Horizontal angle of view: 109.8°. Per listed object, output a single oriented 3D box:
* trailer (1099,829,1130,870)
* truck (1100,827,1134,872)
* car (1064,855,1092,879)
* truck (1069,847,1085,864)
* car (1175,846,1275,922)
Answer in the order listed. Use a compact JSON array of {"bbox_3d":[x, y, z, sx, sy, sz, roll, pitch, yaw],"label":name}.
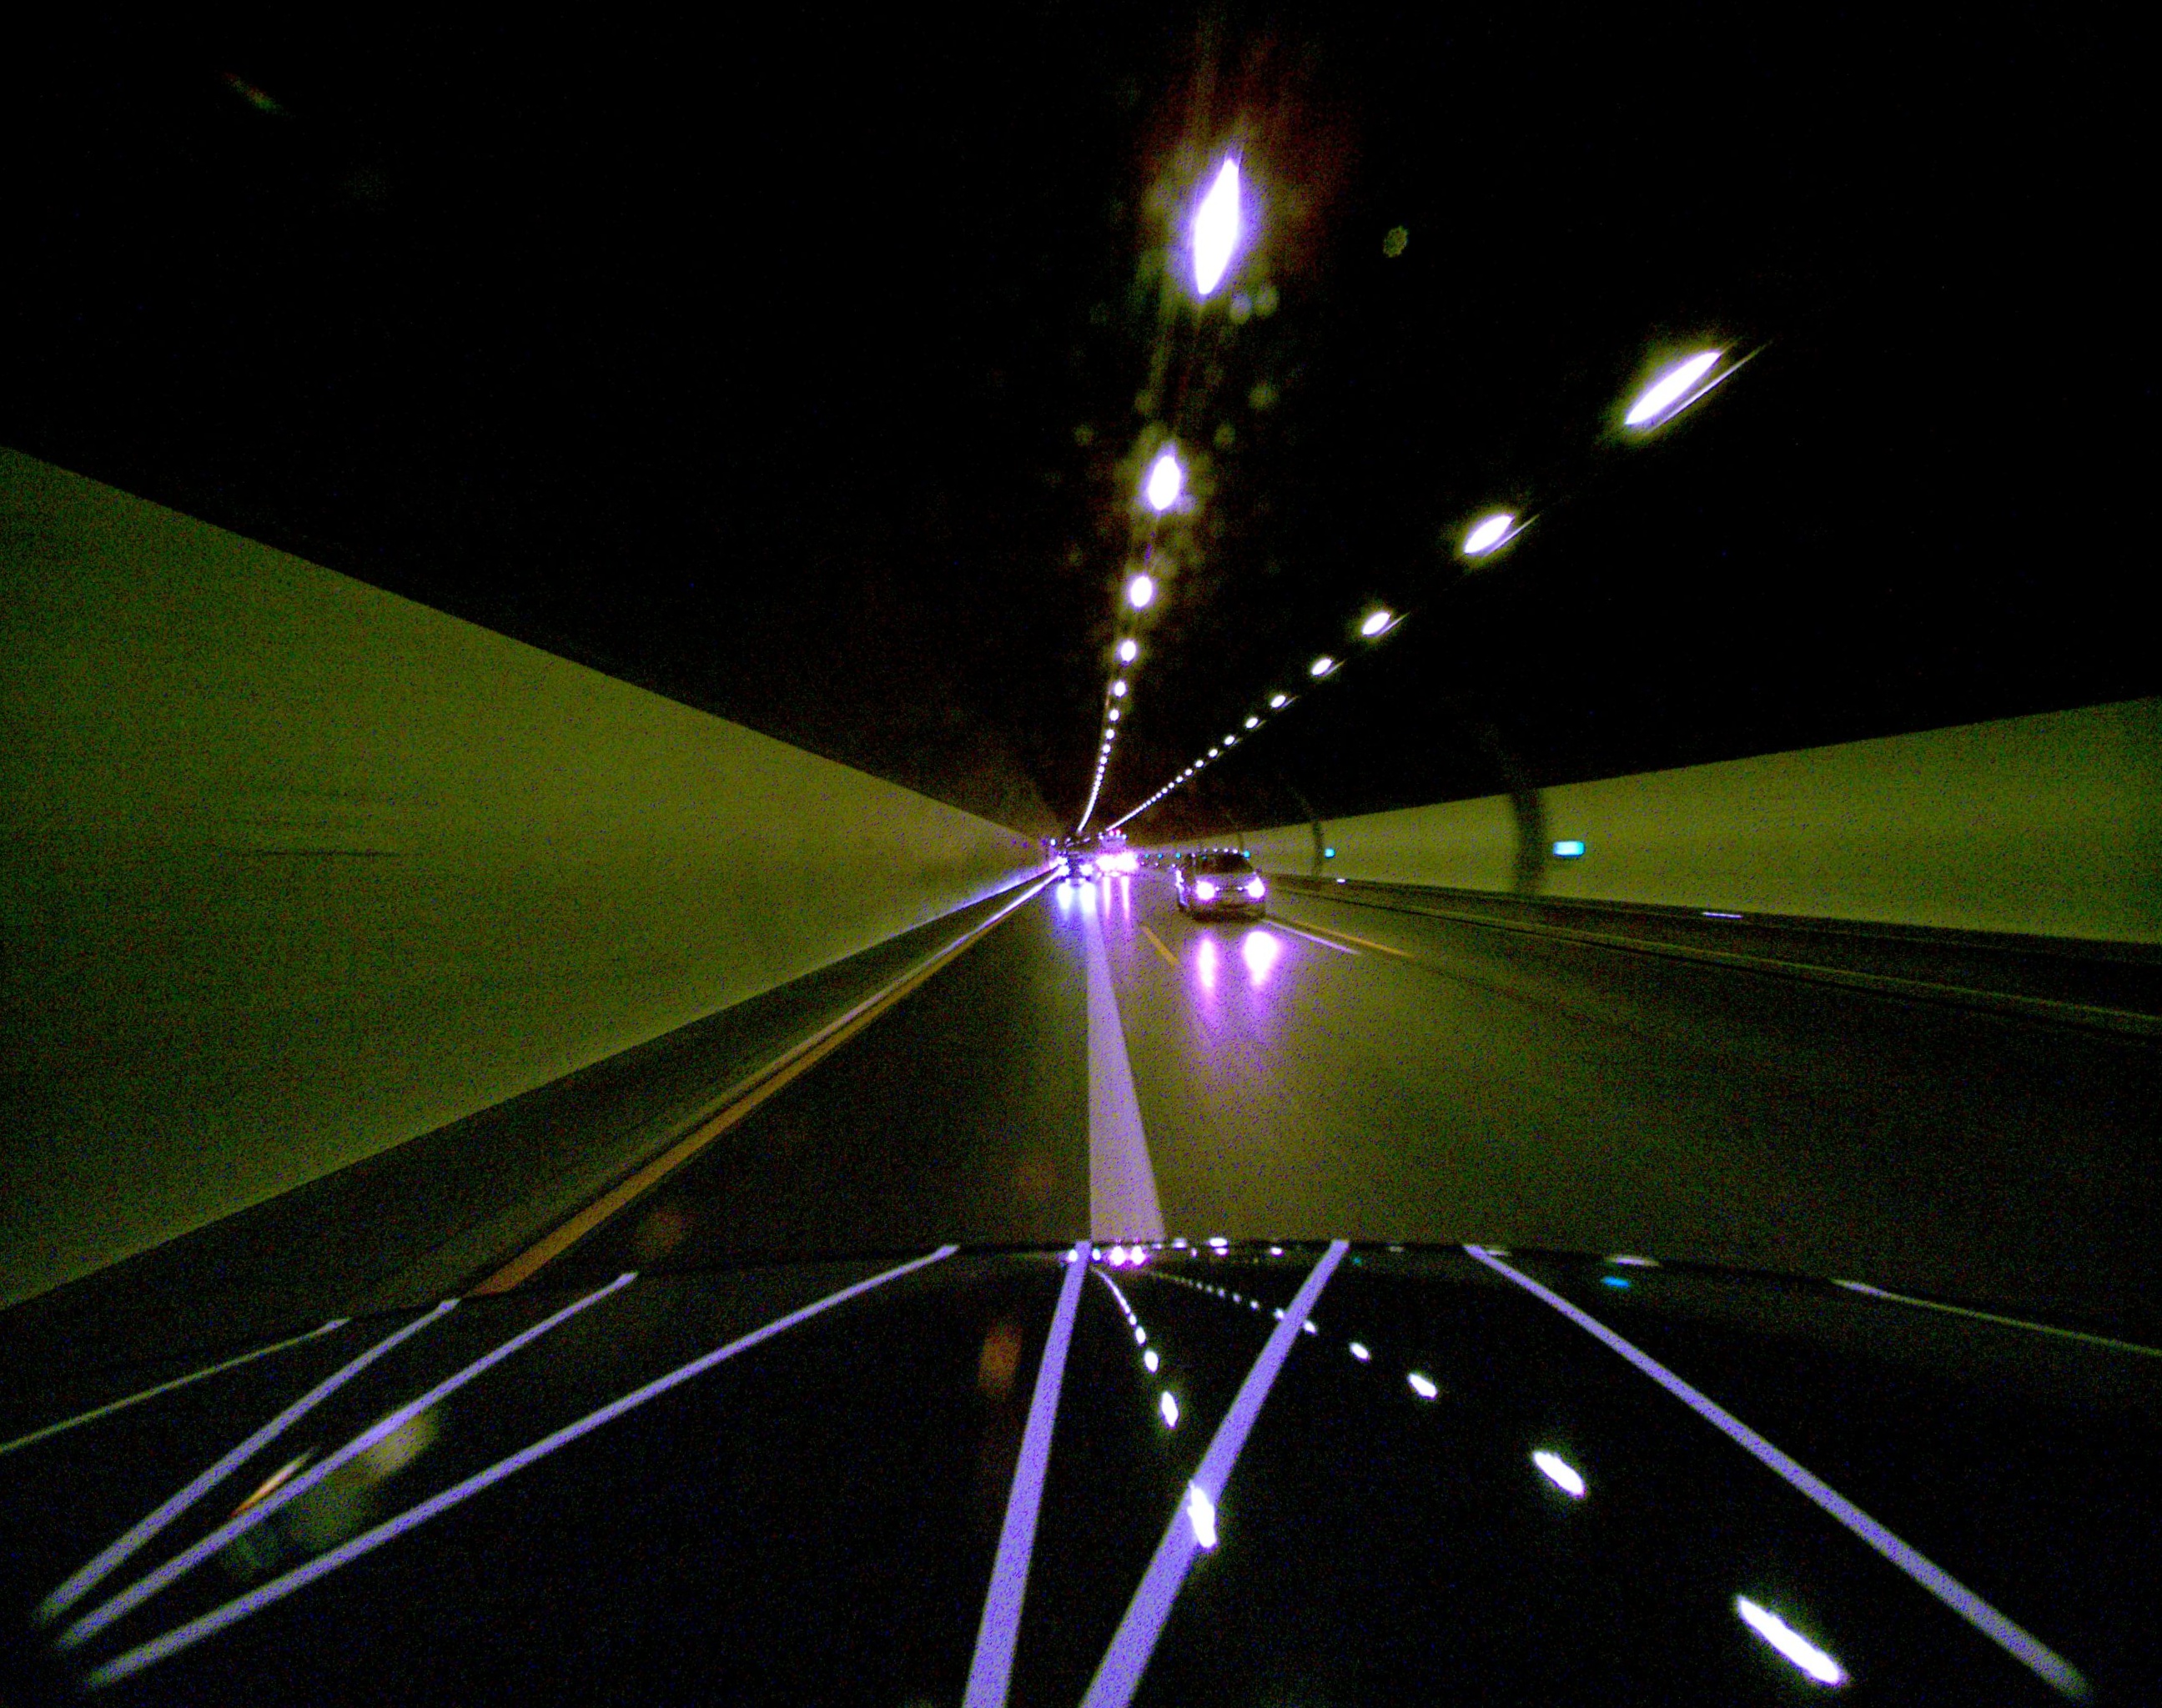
[{"bbox_3d":[2.888,-0.383,67.570,2.374,3.328,12.078,-1,0,1],"label":"trailer"},{"bbox_3d":[2.861,-0.363,60.842,2.374,3.328,4.719,-4,1,2],"label":"truck"},{"bbox_3d":[-0.169,0.814,49.743,1.728,1.474,4.000,-2,0,0],"label":"car"},{"bbox_3d":[-0.728,0.273,128.620,2.151,2.609,9.906,-2,-1,-2],"label":"truck"},{"bbox_3d":[3.375,0.638,18.528,1.766,1.563,4.097,-2,1,2],"label":"car"}]
